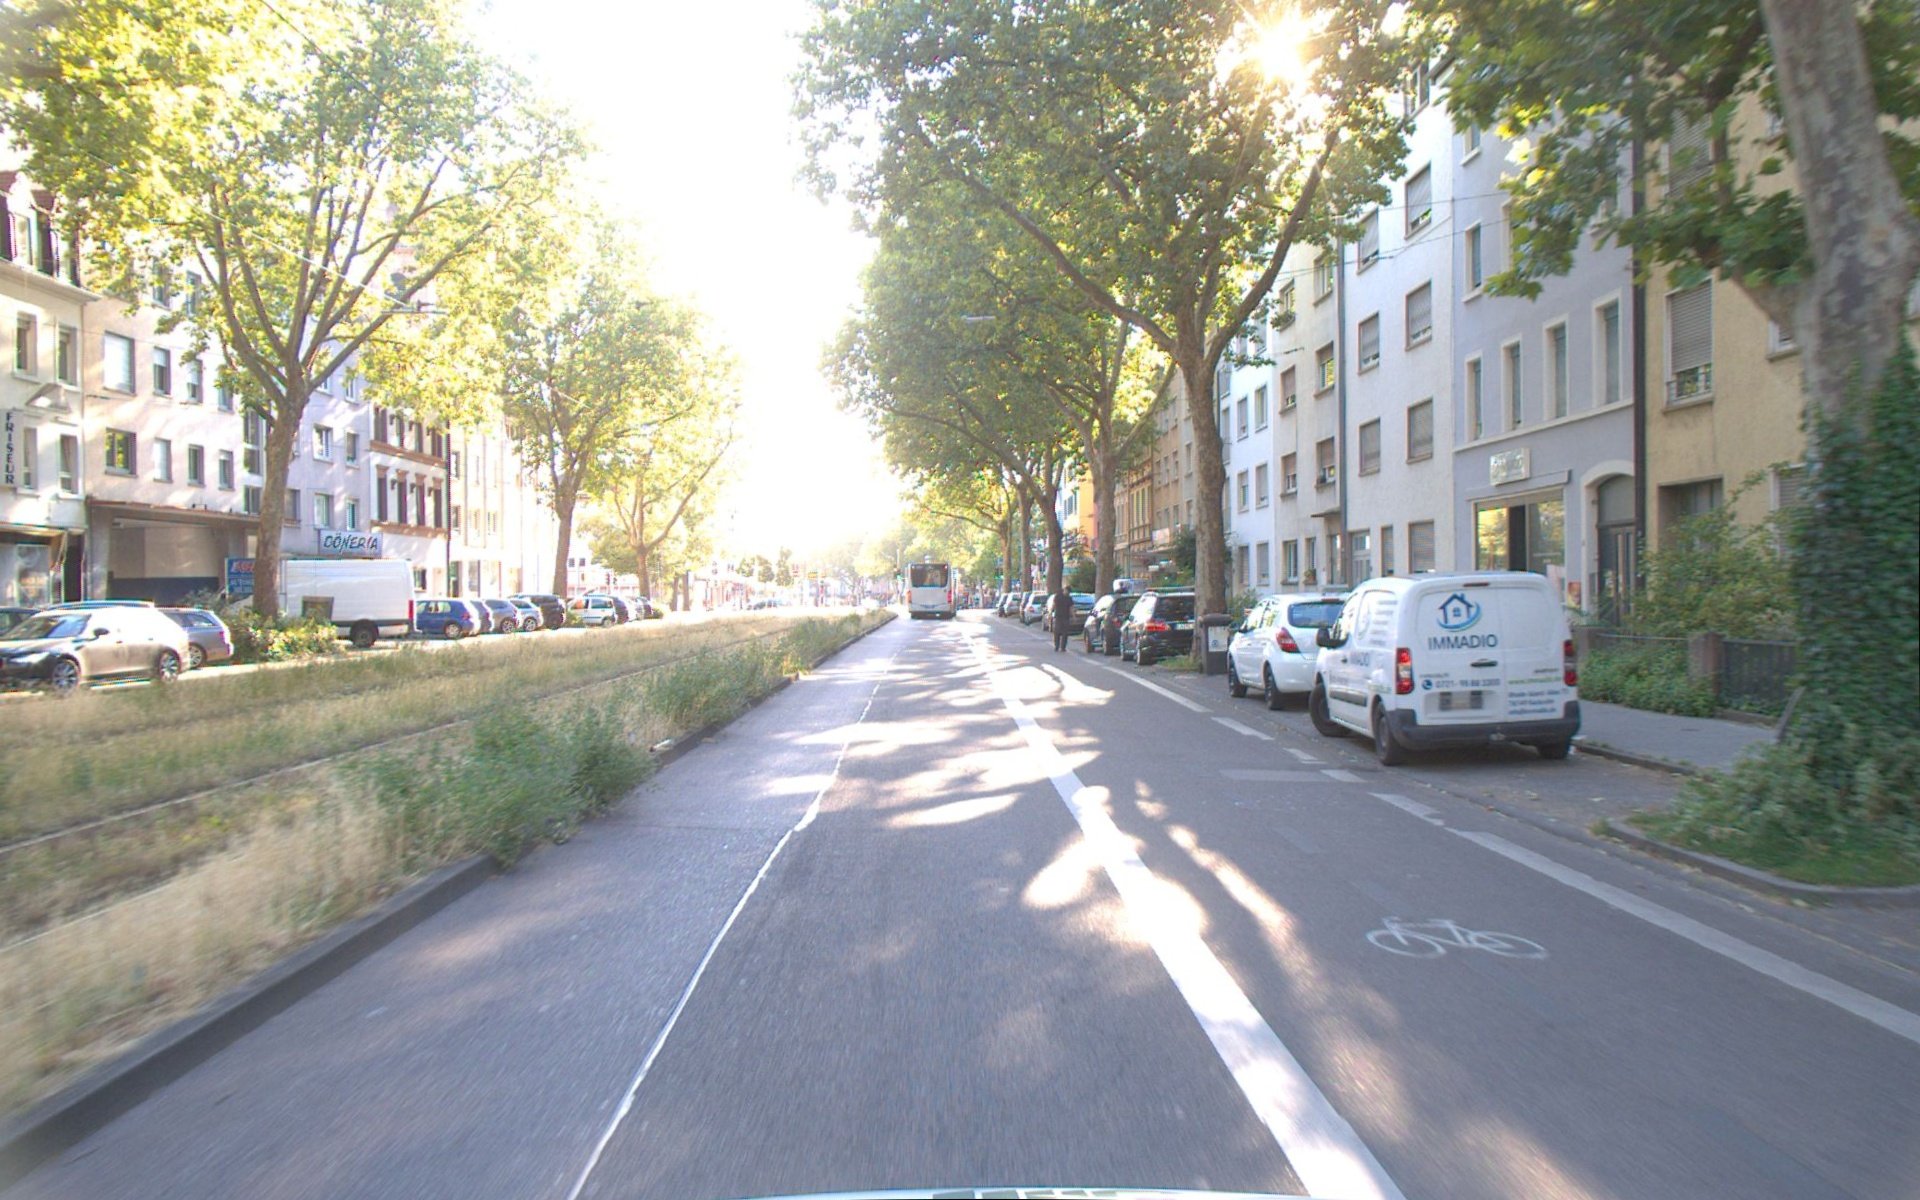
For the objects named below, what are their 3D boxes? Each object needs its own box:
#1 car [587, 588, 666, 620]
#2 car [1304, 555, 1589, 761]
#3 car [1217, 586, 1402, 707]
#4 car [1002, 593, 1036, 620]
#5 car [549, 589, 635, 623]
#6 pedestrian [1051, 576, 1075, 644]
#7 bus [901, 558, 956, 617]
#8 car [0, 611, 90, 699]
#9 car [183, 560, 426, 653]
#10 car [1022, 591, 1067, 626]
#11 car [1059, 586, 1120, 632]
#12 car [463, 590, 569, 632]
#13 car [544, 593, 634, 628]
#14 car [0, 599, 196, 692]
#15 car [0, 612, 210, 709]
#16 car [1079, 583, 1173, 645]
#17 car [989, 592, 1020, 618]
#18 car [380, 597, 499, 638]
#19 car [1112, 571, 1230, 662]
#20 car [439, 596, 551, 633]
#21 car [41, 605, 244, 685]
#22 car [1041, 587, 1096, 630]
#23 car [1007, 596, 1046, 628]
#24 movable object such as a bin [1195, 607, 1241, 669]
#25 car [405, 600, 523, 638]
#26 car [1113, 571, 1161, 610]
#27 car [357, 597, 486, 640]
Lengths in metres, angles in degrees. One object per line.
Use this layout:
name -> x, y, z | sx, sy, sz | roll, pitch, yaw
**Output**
car -> -19.631, 0.242, 97.408 | 4.276, 1.768, 1.830 | -1, 0, -42
car -> 4.796, 0.527, 16.962 | 1.708, 1.801, 4.395 | -1, 0, 2
car -> 4.804, 0.581, 23.252 | 1.612, 1.512, 3.999 | -2, 1, -2
car -> 3.516, 0.385, 99.175 | 1.745, 1.542, 3.999 | -2, 1, -1
car -> -20.072, 0.325, 90.261 | 4.276, 1.768, 1.830 | -1, 0, -42
pedestrian -> 2.775, 0.273, 44.756 | 0.565, 1.811, 0.514 | -1, 0, -2
bus -> -1.912, -0.683, 97.052 | 2.777, 3.292, 8.176 | -1, 0, -4
car -> -19.385, 1.147, 32.375 | 3.952, 1.580, 1.835 | -5, 3, -33
car -> -20.302, 0.168, 51.485 | 6.842, 2.725, 2.171 | -1, 0, -23
car -> 3.899, 0.376, 76.546 | 1.745, 1.542, 3.999 | -2, 1, -1
car -> 4.586, 0.299, 58.998 | 1.745, 1.542, 3.999 | -2, 1, -1
car -> -20.025, 0.481, 74.631 | 4.276, 1.768, 1.830 | -1, 0, -42
car -> -19.376, 0.541, 86.426 | 4.276, 1.768, 1.830 | -1, 0, -42
car -> -18.843, 0.956, 35.759 | 3.951, 1.728, 1.835 | -3, 1, -33
car -> -15.051, 0.970, 28.288 | 1.708, 1.485, 4.929 | -1, 0, 7
car -> 4.256, 0.354, 42.955 | 1.653, 1.512, 3.995 | -1, 0, -5
car -> 2.832, 0.324, 105.772 | 1.745, 1.542, 3.999 | -2, 1, -1
car -> -20.078, 0.669, 63.790 | 4.241, 1.483, 1.845 | -1, 0, -24
car -> 4.514, 0.345, 36.106 | 1.709, 1.801, 4.986 | -1, 0, -2
car -> -20.011, 0.610, 71.251 | 4.276, 1.483, 1.830 | -1, 0, -42
car -> -19.123, 1.017, 38.764 | 3.962, 1.729, 1.829 | -1, 0, -40
car -> 4.159, 0.295, 63.887 | 1.745, 1.542, 3.999 | -2, 1, -1
car -> 3.389, 0.608, 84.786 | 1.745, 1.542, 3.999 | -2, 1, -1
movable object such as a bin -> 4.695, 0.690, 30.169 | 0.660, 1.063, 0.879 | -1, 2, -1
car -> -20.324, 0.774, 67.843 | 4.276, 1.483, 1.830 | -1, 0, -42
car -> 8.980, -0.474, 84.264 | 1.845, 1.892, 4.324 | -1, 0, -1
car -> -19.907, 0.670, 61.257 | 4.216, 1.483, 1.856 | -1, 0, -7
